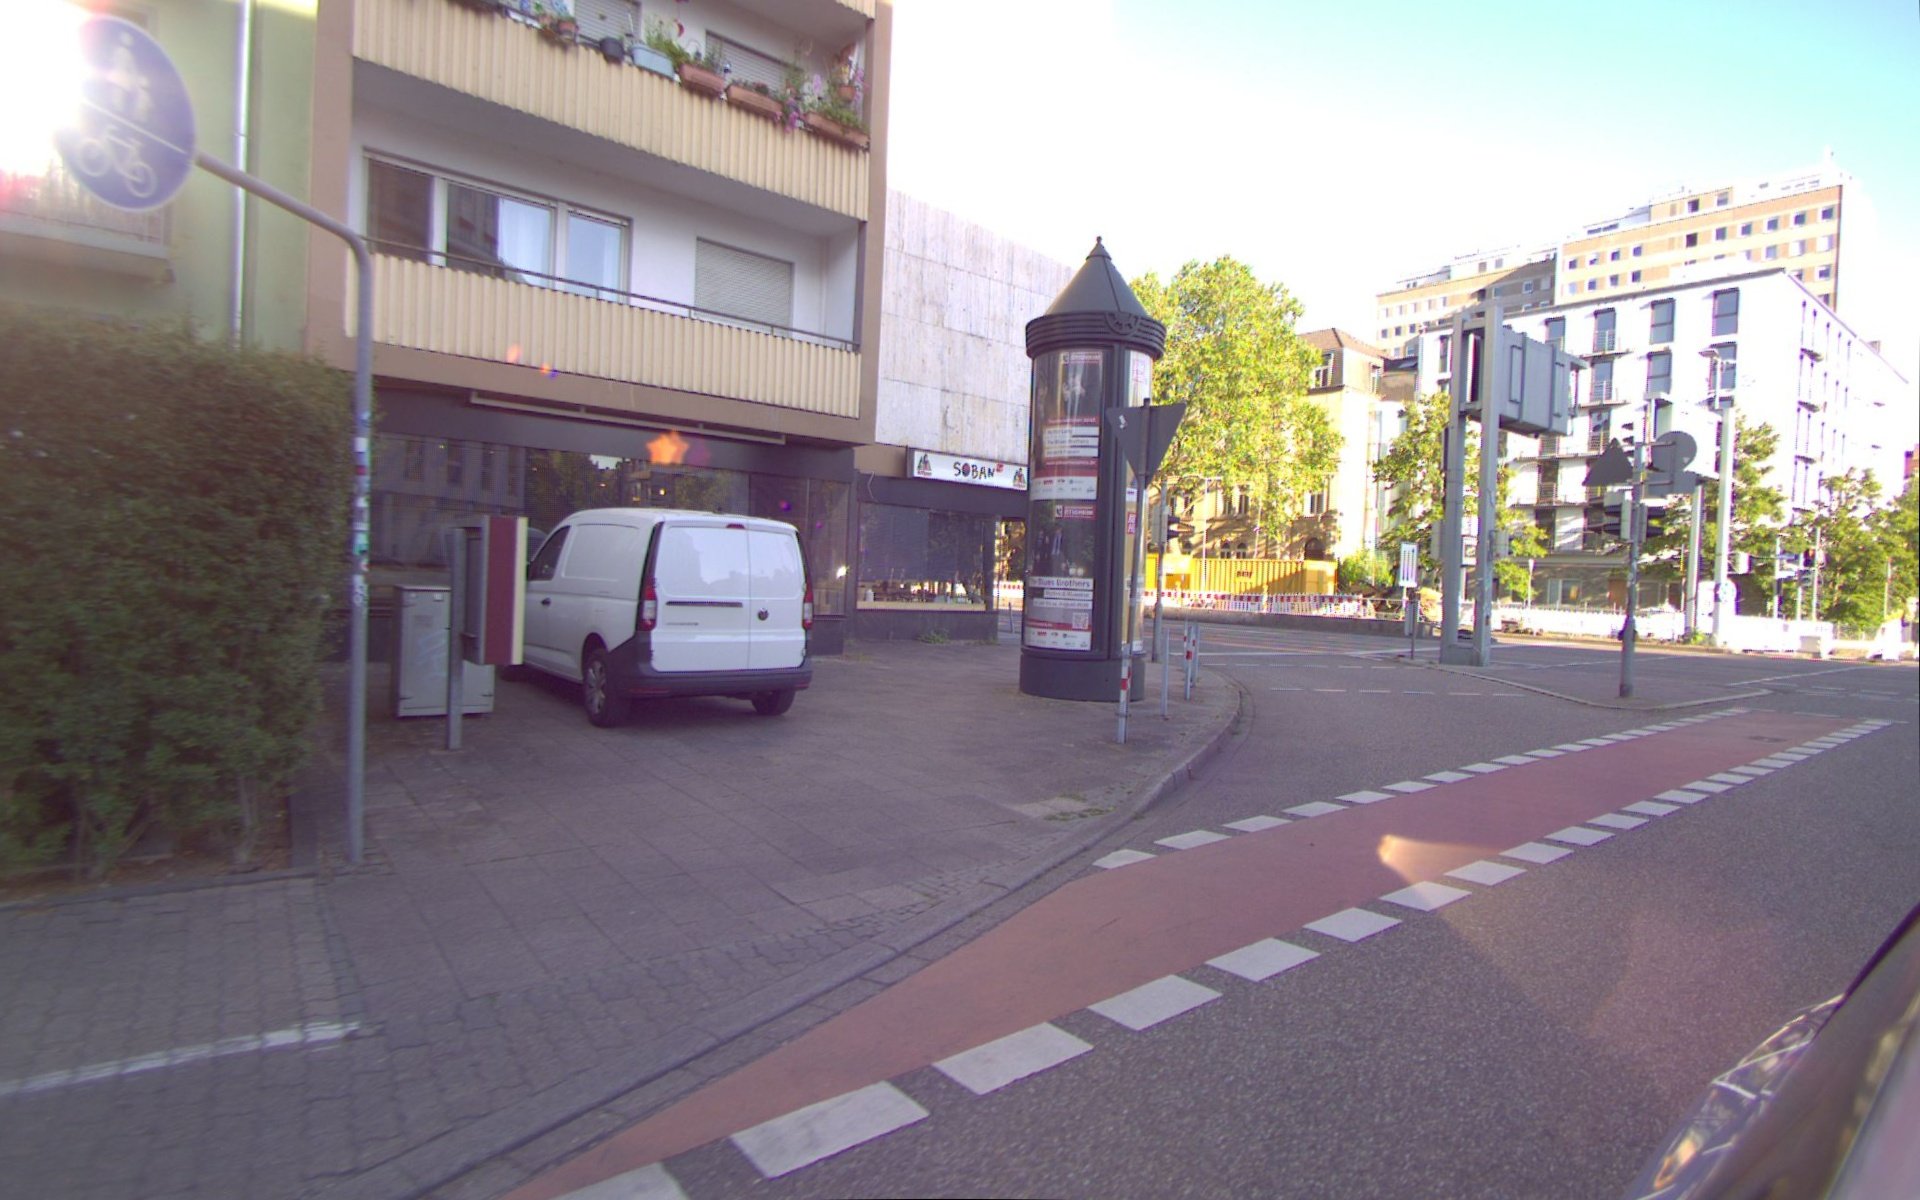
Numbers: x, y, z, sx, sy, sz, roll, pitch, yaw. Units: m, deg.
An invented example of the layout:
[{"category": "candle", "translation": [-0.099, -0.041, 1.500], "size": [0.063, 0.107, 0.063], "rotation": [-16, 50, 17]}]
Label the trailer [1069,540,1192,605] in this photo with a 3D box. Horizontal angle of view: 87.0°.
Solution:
[{"category": "trailer", "translation": [8.505, -1.417, 51.055], "size": [2.362, 3.053, 6.129], "rotation": [2, 1, -37]}]

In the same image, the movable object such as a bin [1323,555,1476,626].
[{"category": "movable object such as a bin", "translation": [17.295, -0.427, 40.109], "size": [1.962, 2.625, 5.216], "rotation": [2, 1, -36]}]

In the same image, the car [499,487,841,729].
[{"category": "car", "translation": [-3.019, -0.002, 9.883], "size": [1.827, 1.836, 4.100], "rotation": [2, 1, -37]}]

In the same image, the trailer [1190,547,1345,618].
[{"category": "trailer", "translation": [13.502, -0.847, 44.862], "size": [2.496, 2.903, 6.123], "rotation": [2, 1, -40]}]
